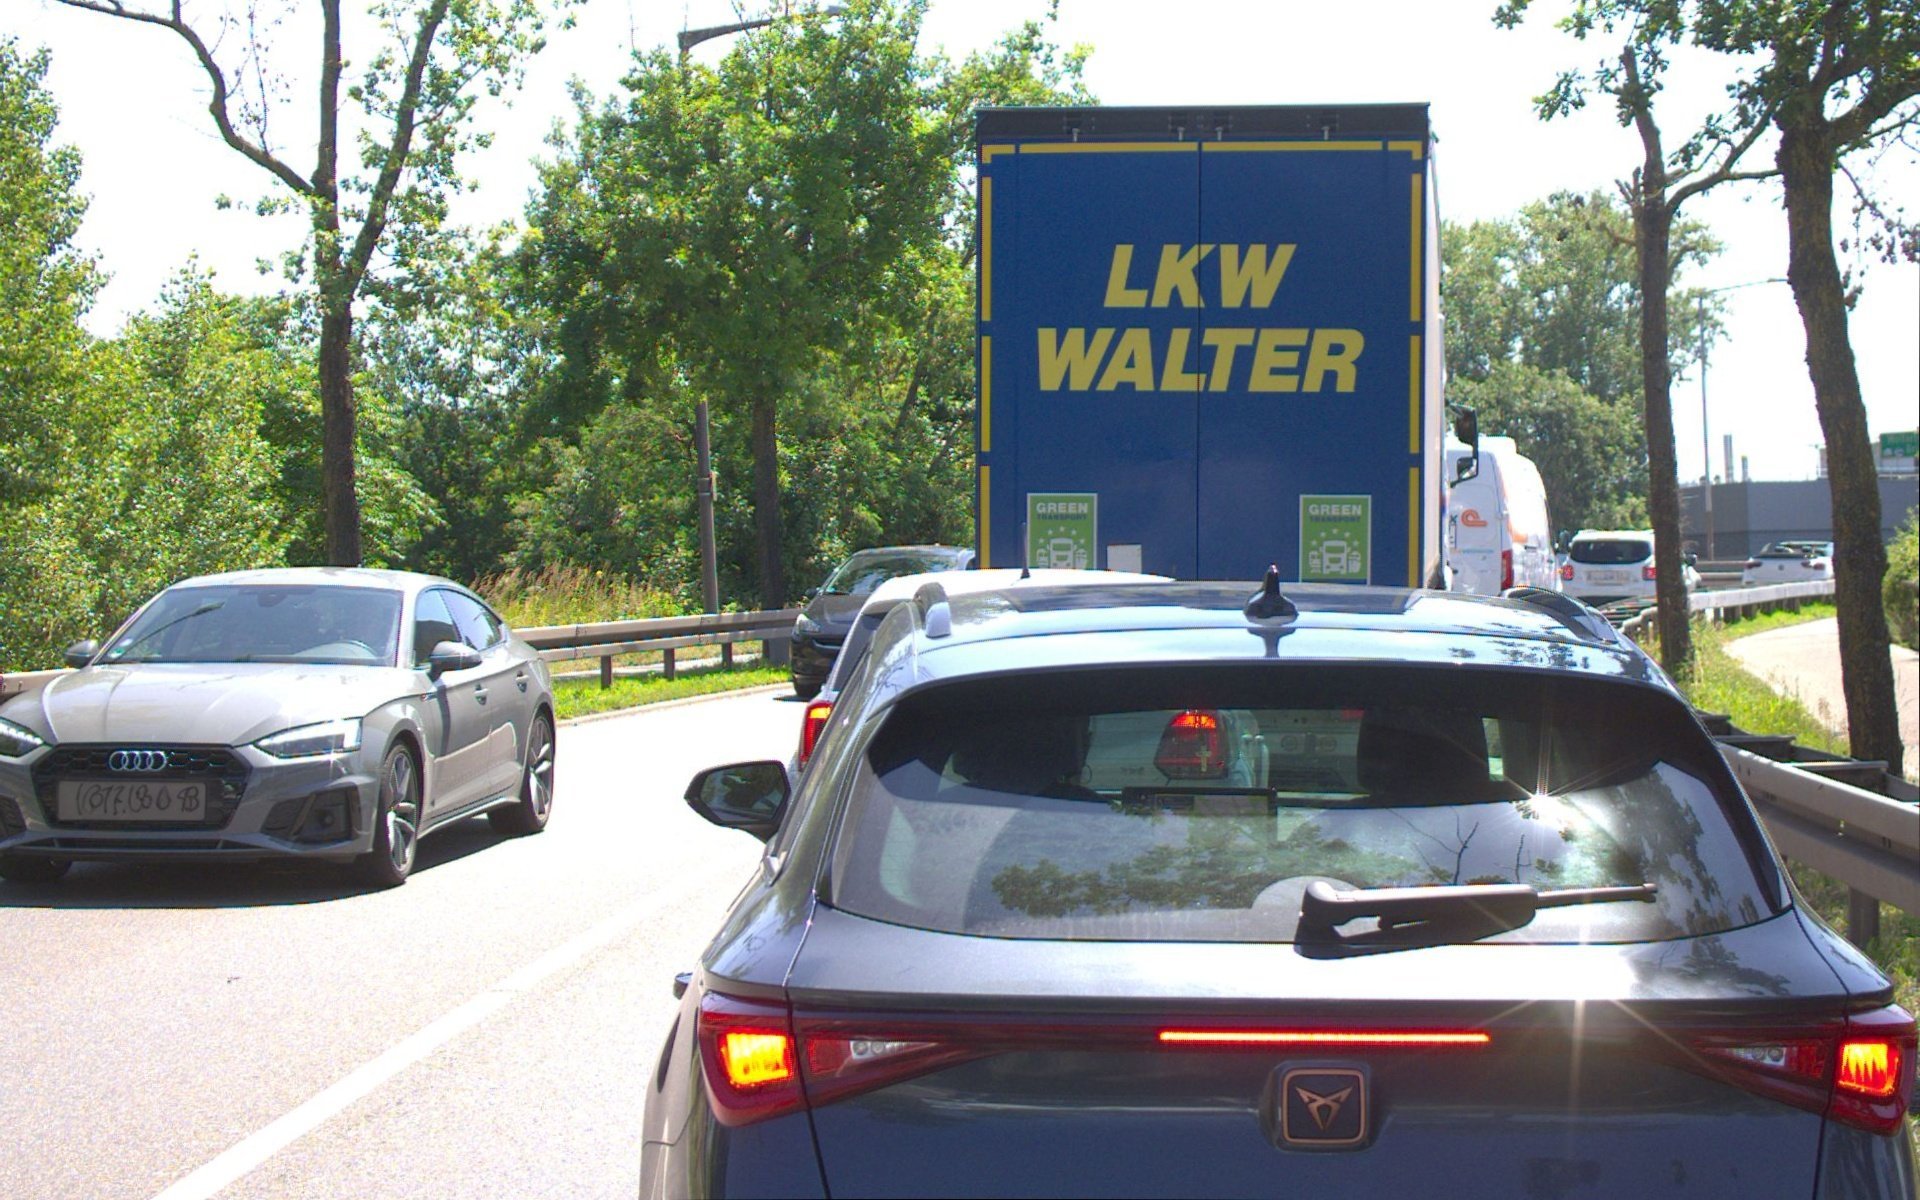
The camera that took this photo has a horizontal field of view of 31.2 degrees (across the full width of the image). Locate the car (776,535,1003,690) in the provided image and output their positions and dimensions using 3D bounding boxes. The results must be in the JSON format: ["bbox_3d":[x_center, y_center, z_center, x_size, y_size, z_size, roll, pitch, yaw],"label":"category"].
[{"bbox_3d":[-0.656,0.090,34.726,1.671,1.461,3.819,1,1,8],"label":"car"}]

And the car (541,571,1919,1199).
[{"bbox_3d":[0.417,0.689,5.618,1.744,1.427,3.880,1,1,0],"label":"car"}]

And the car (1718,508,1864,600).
[{"bbox_3d":[17.012,-0.941,70.234,1.996,1.802,4.839,1,1,25],"label":"car"}]

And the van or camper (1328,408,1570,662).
[{"bbox_3d":[6.341,-0.820,43.905,2.468,2.988,6.082,1,1,13],"label":"van or camper"}]

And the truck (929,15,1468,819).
[{"bbox_3d":[2.425,-1.139,27.491,2.951,4.433,16.793,1,1,8],"label":"truck"}]

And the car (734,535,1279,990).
[{"bbox_3d":[0.197,0.514,13.530,1.809,1.503,4.000,1,1,1],"label":"car"}]

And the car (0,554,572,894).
[{"bbox_3d":[-3.184,0.483,16.545,1.759,1.391,4.405,1,1,5],"label":"car"}]

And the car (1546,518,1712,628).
[{"bbox_3d":[10.976,-0.451,56.186,1.995,1.706,4.615,1,1,19],"label":"car"}]
